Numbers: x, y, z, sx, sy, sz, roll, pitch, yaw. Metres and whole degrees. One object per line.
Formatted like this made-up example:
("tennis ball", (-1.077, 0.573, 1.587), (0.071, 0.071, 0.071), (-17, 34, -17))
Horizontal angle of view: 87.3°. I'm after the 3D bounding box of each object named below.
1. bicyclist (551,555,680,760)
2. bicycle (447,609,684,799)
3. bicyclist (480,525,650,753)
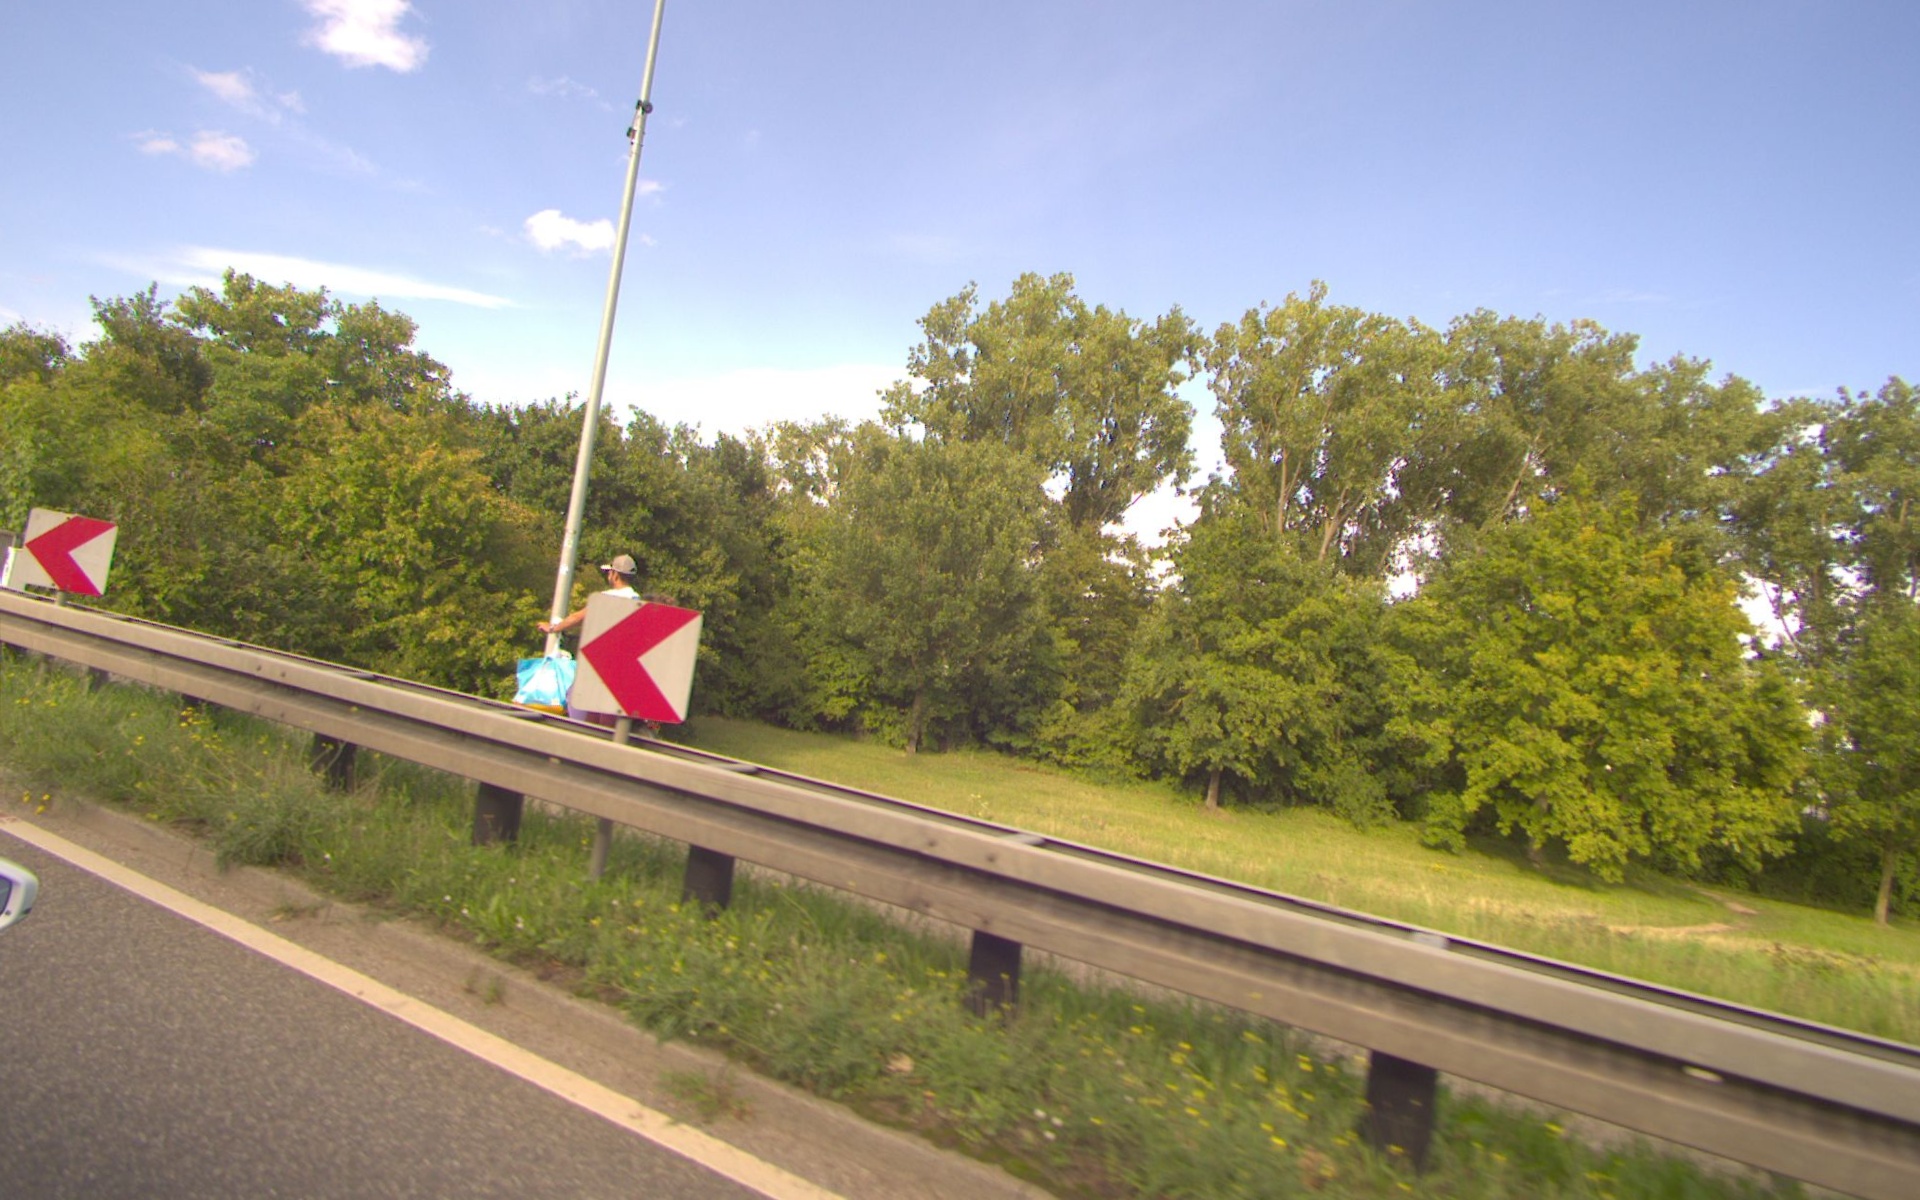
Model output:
("bicyclist", (-2.501, 0.420, 7.321), (0.529, 1.388, 0.501), (7, -1, 27))
("bicycle", (-2.991, 0.750, 7.592), (1.667, 1.133, 0.597), (7, -1, 28))
("bicyclist", (-2.981, 0.298, 7.632), (0.741, 1.575, 0.709), (7, -1, 27))
